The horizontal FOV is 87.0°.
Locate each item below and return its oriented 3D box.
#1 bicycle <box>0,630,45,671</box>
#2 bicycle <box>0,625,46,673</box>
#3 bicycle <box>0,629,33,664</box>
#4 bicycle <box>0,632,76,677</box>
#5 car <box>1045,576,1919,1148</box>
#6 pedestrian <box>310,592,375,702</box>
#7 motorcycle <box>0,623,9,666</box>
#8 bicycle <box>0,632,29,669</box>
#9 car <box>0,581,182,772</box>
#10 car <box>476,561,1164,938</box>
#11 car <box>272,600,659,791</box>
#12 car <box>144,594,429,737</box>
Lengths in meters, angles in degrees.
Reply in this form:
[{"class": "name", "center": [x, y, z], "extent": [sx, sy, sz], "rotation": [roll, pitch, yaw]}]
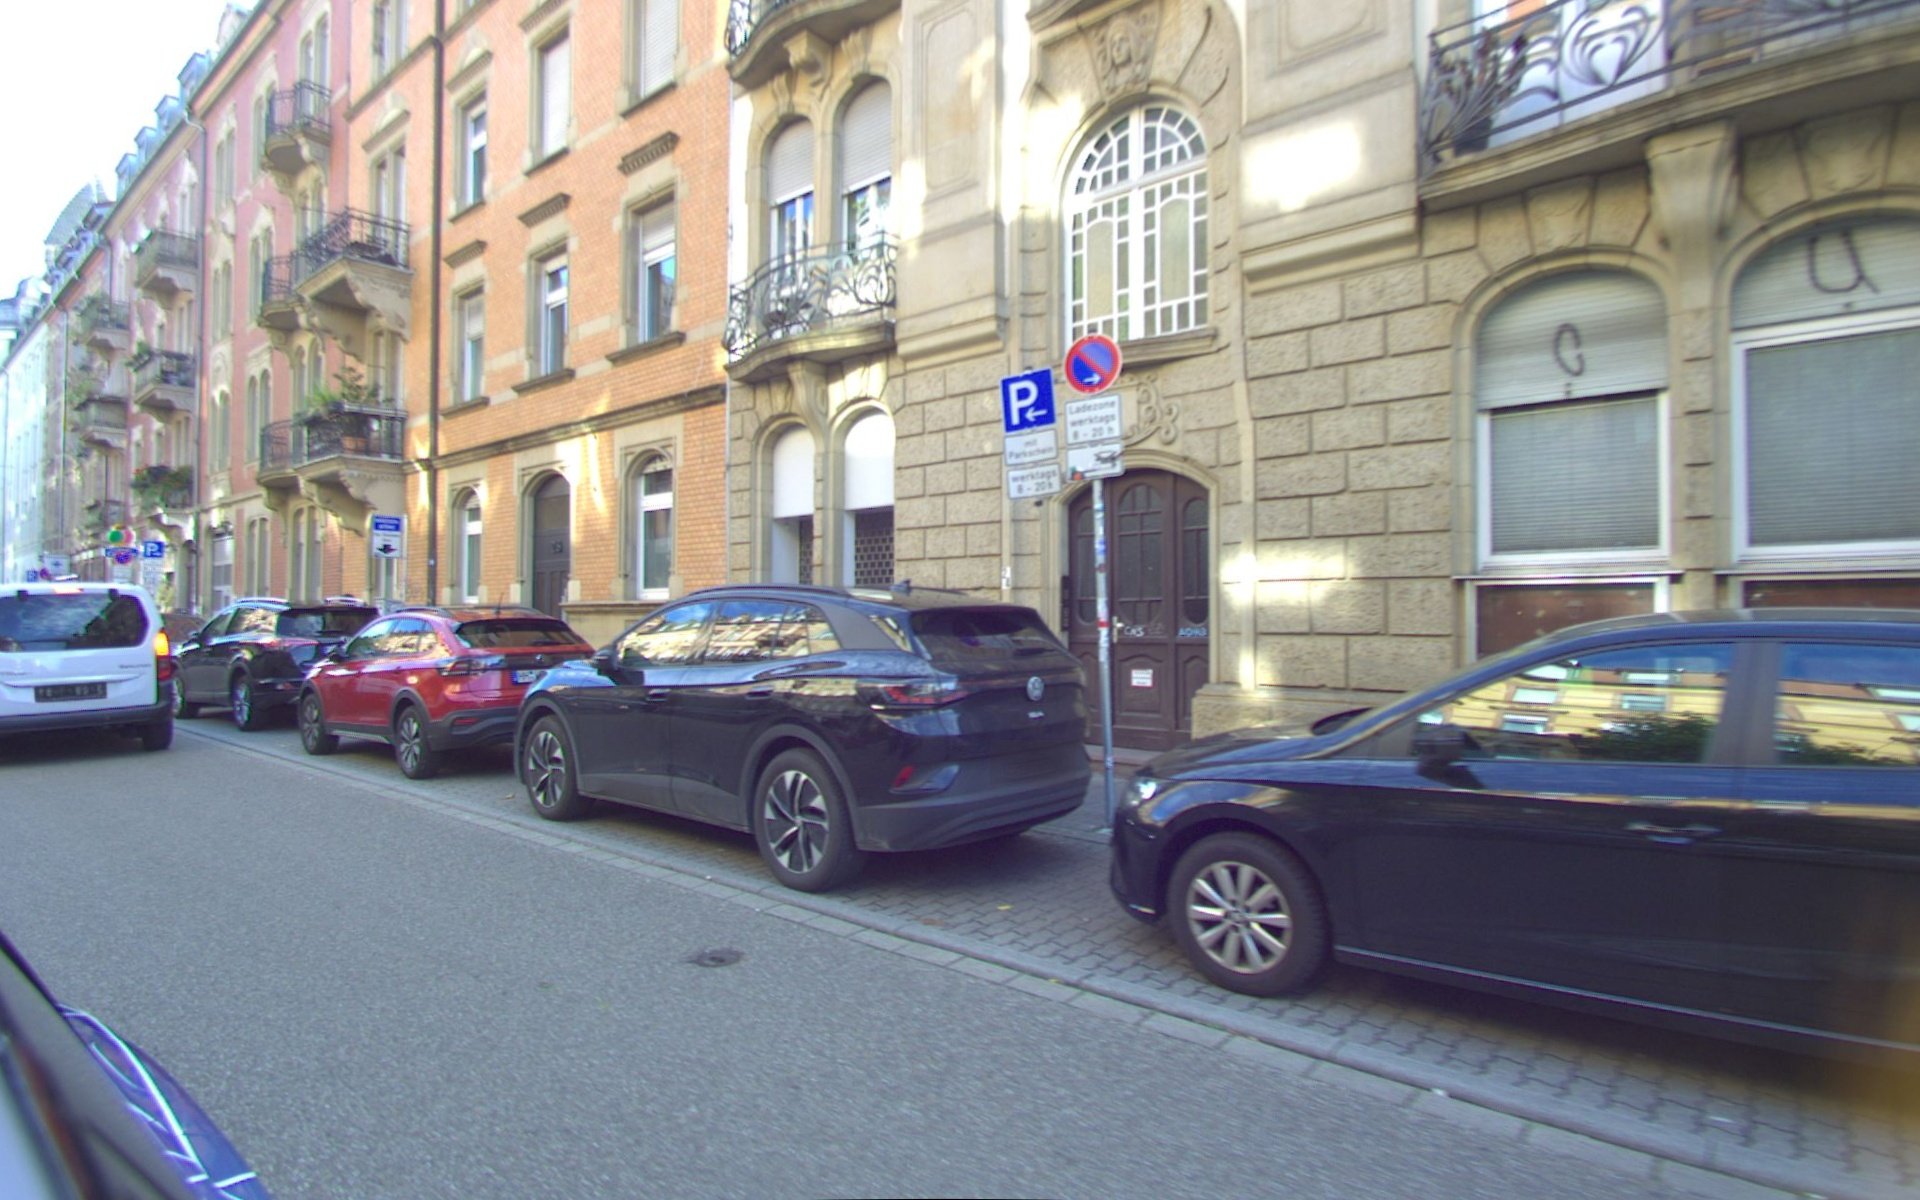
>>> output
[{"class": "bicycle", "center": [-29.761, 1.578, 31.644], "extent": [0.583, 1.209, 1.788], "rotation": [-1, 0, 4]}, {"class": "bicycle", "center": [-27.601, 1.425, 29.386], "extent": [0.521, 1.332, 1.674], "rotation": [-1, -1, 5]}, {"class": "bicycle", "center": [-31.209, 1.533, 33.486], "extent": [0.570, 1.098, 1.742], "rotation": [-1, -1, -36]}, {"class": "bicycle", "center": [-25.801, 1.492, 28.172], "extent": [0.795, 1.167, 2.275], "rotation": [-1, 0, -12]}, {"class": "car", "center": [2.603, 0.688, 3.678], "extent": [4.241, 1.431, 1.973], "rotation": [-1, -2, 40]}, {"class": "pedestrian", "center": [-10.549, 0.780, 17.292], "extent": [0.863, 1.822, 0.748], "rotation": [-2, -1, 44]}, {"class": "motorcycle", "center": [-31.814, 1.470, 33.116], "extent": [0.697, 1.395, 2.029], "rotation": [-1, -1, -35]}, {"class": "bicycle", "center": [-30.364, 1.592, 31.884], "extent": [0.583, 1.129, 1.568], "rotation": [-1, 0, 4]}, {"class": "car", "center": [-10.586, 0.775, 11.620], "extent": [4.438, 1.842, 1.897], "rotation": [-1, -1, 43]}, {"class": "car", "center": [-1.232, 0.697, 6.692], "extent": [4.845, 1.641, 1.772], "rotation": [-1, -2, 41]}, {"class": "car", "center": [-5.223, 0.822, 10.437], "extent": [4.423, 1.556, 1.973], "rotation": [-1, -2, 40]}, {"class": "car", "center": [-9.554, 0.840, 14.196], "extent": [4.886, 1.693, 1.855], "rotation": [-2, -1, 37]}]
